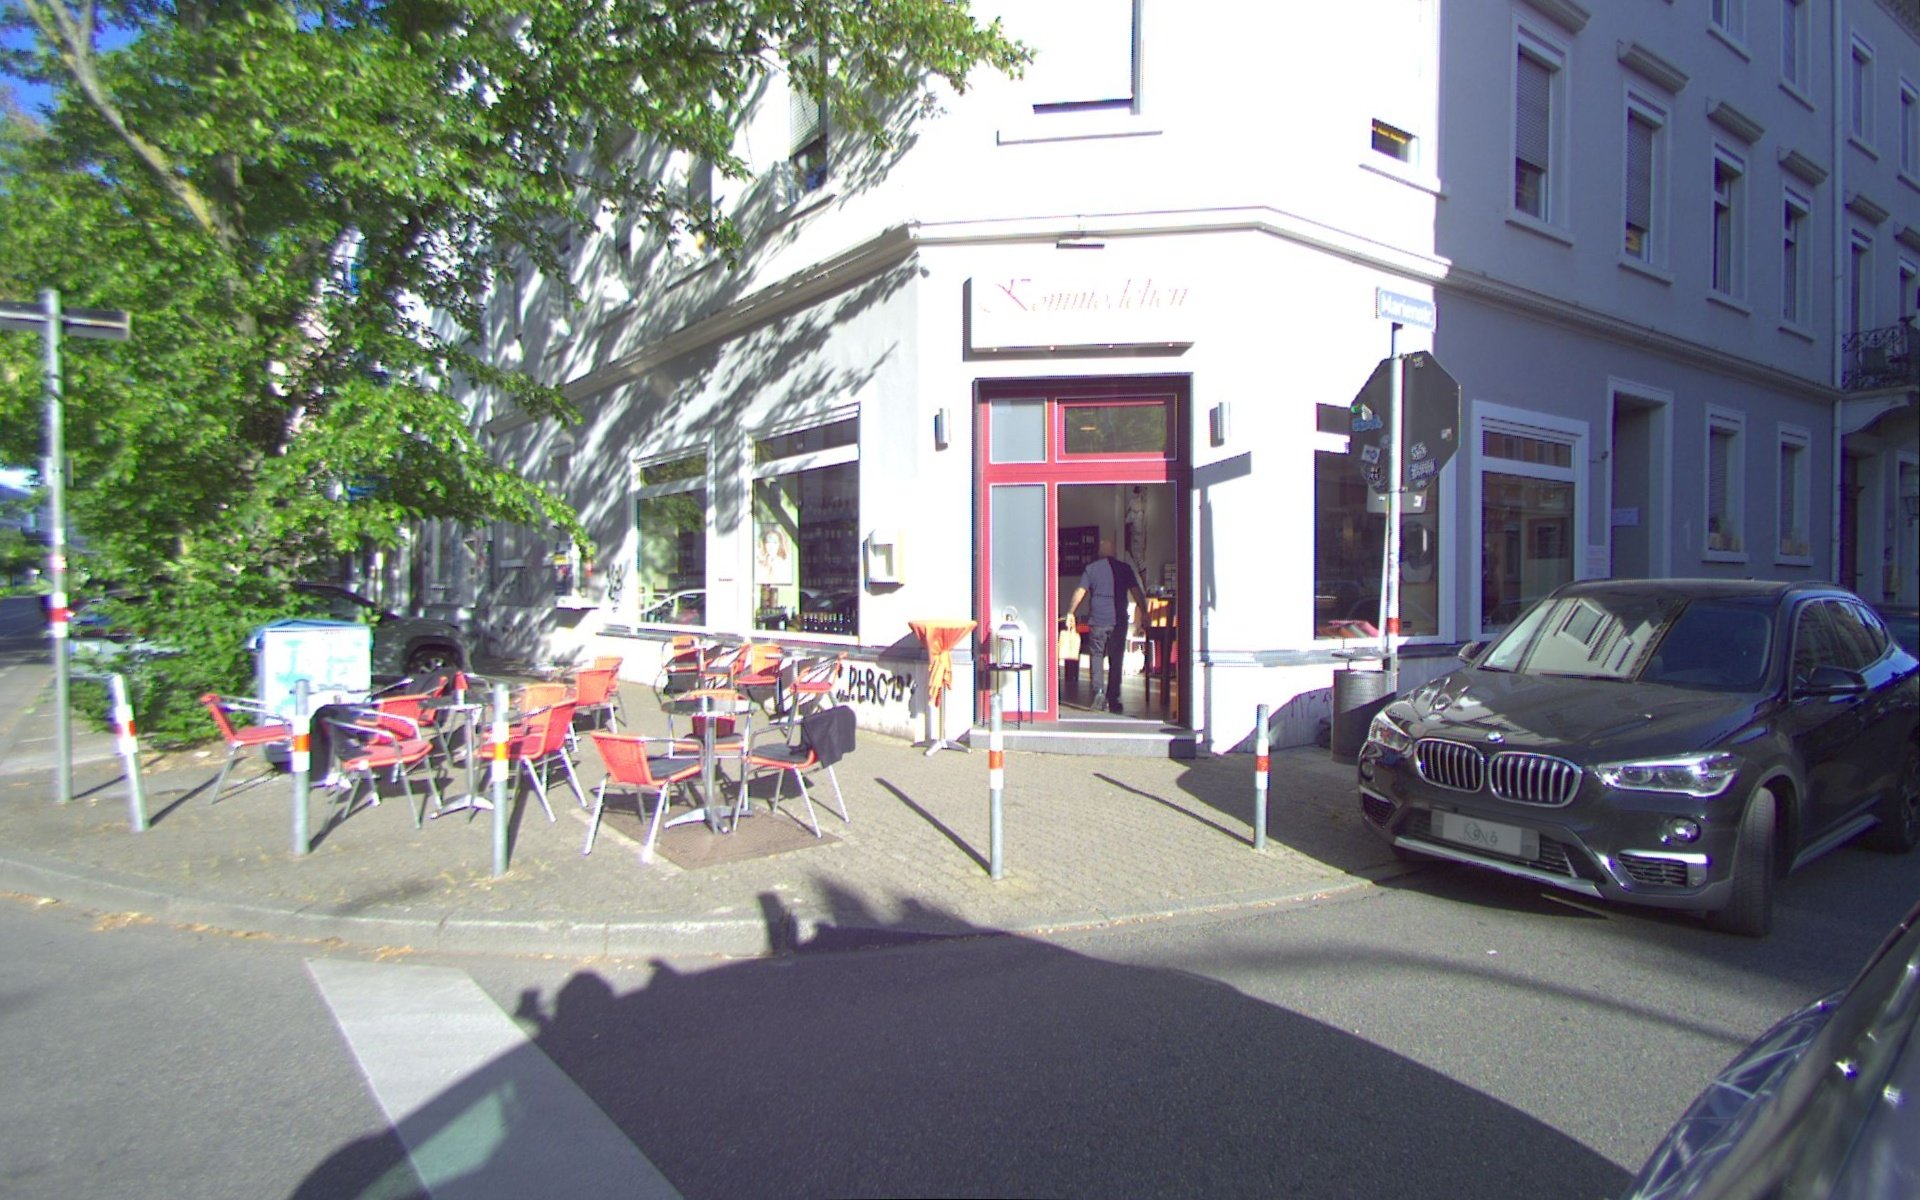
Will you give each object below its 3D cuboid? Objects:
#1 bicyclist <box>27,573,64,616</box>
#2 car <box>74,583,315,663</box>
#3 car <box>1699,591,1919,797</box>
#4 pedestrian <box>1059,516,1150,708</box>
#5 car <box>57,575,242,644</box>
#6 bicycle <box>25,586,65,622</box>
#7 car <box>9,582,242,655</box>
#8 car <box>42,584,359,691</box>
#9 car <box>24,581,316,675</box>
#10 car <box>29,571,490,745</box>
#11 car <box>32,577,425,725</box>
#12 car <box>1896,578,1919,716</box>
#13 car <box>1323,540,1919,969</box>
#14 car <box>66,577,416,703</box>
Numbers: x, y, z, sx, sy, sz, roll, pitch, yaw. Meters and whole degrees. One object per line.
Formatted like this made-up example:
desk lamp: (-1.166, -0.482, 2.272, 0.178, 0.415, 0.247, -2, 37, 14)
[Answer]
bicyclist: (-32.042, -0.197, 35.465, 0.886, 1.472, 1.261, 0, 0, -40)
car: (-16.853, 0.437, 22.421, 1.615, 1.506, 4.071, 2, 3, 44)
car: (8.366, 0.697, 9.056, 3.879, 1.522, 1.650, 0, -1, -35)
pedestrian: (1.425, 0.106, 10.065, 0.850, 1.822, 0.850, 0, 0, 8)
car: (-24.815, 0.211, 31.193, 1.864, 1.910, 4.114, 0, 2, 17)
bicycle: (-32.145, 0.119, 35.588, 0.886, 1.180, 3.244, 0, 0, -40)
car: (-19.827, 0.369, 24.284, 1.598, 1.506, 4.114, 0, 2, 17)
car: (-12.894, 0.534, 17.435, 1.611, 1.506, 4.083, 1, 3, 36)
car: (-14.788, 0.431, 19.170, 1.610, 1.506, 4.084, 1, 3, 35)
car: (-7.693, 0.477, 11.606, 1.604, 1.574, 4.100, 1, 2, 26)
car: (-9.413, 0.517, 13.492, 1.598, 1.574, 4.114, 0, 2, 17)
car: (13.009, 0.524, 12.280, 3.716, 1.607, 1.641, 0, -1, -35)
car: (4.153, 0.609, 5.900, 4.117, 1.683, 1.765, 0, -1, -35)
car: (-10.781, 0.479, 15.508, 1.607, 1.574, 4.093, 1, 2, 30)
